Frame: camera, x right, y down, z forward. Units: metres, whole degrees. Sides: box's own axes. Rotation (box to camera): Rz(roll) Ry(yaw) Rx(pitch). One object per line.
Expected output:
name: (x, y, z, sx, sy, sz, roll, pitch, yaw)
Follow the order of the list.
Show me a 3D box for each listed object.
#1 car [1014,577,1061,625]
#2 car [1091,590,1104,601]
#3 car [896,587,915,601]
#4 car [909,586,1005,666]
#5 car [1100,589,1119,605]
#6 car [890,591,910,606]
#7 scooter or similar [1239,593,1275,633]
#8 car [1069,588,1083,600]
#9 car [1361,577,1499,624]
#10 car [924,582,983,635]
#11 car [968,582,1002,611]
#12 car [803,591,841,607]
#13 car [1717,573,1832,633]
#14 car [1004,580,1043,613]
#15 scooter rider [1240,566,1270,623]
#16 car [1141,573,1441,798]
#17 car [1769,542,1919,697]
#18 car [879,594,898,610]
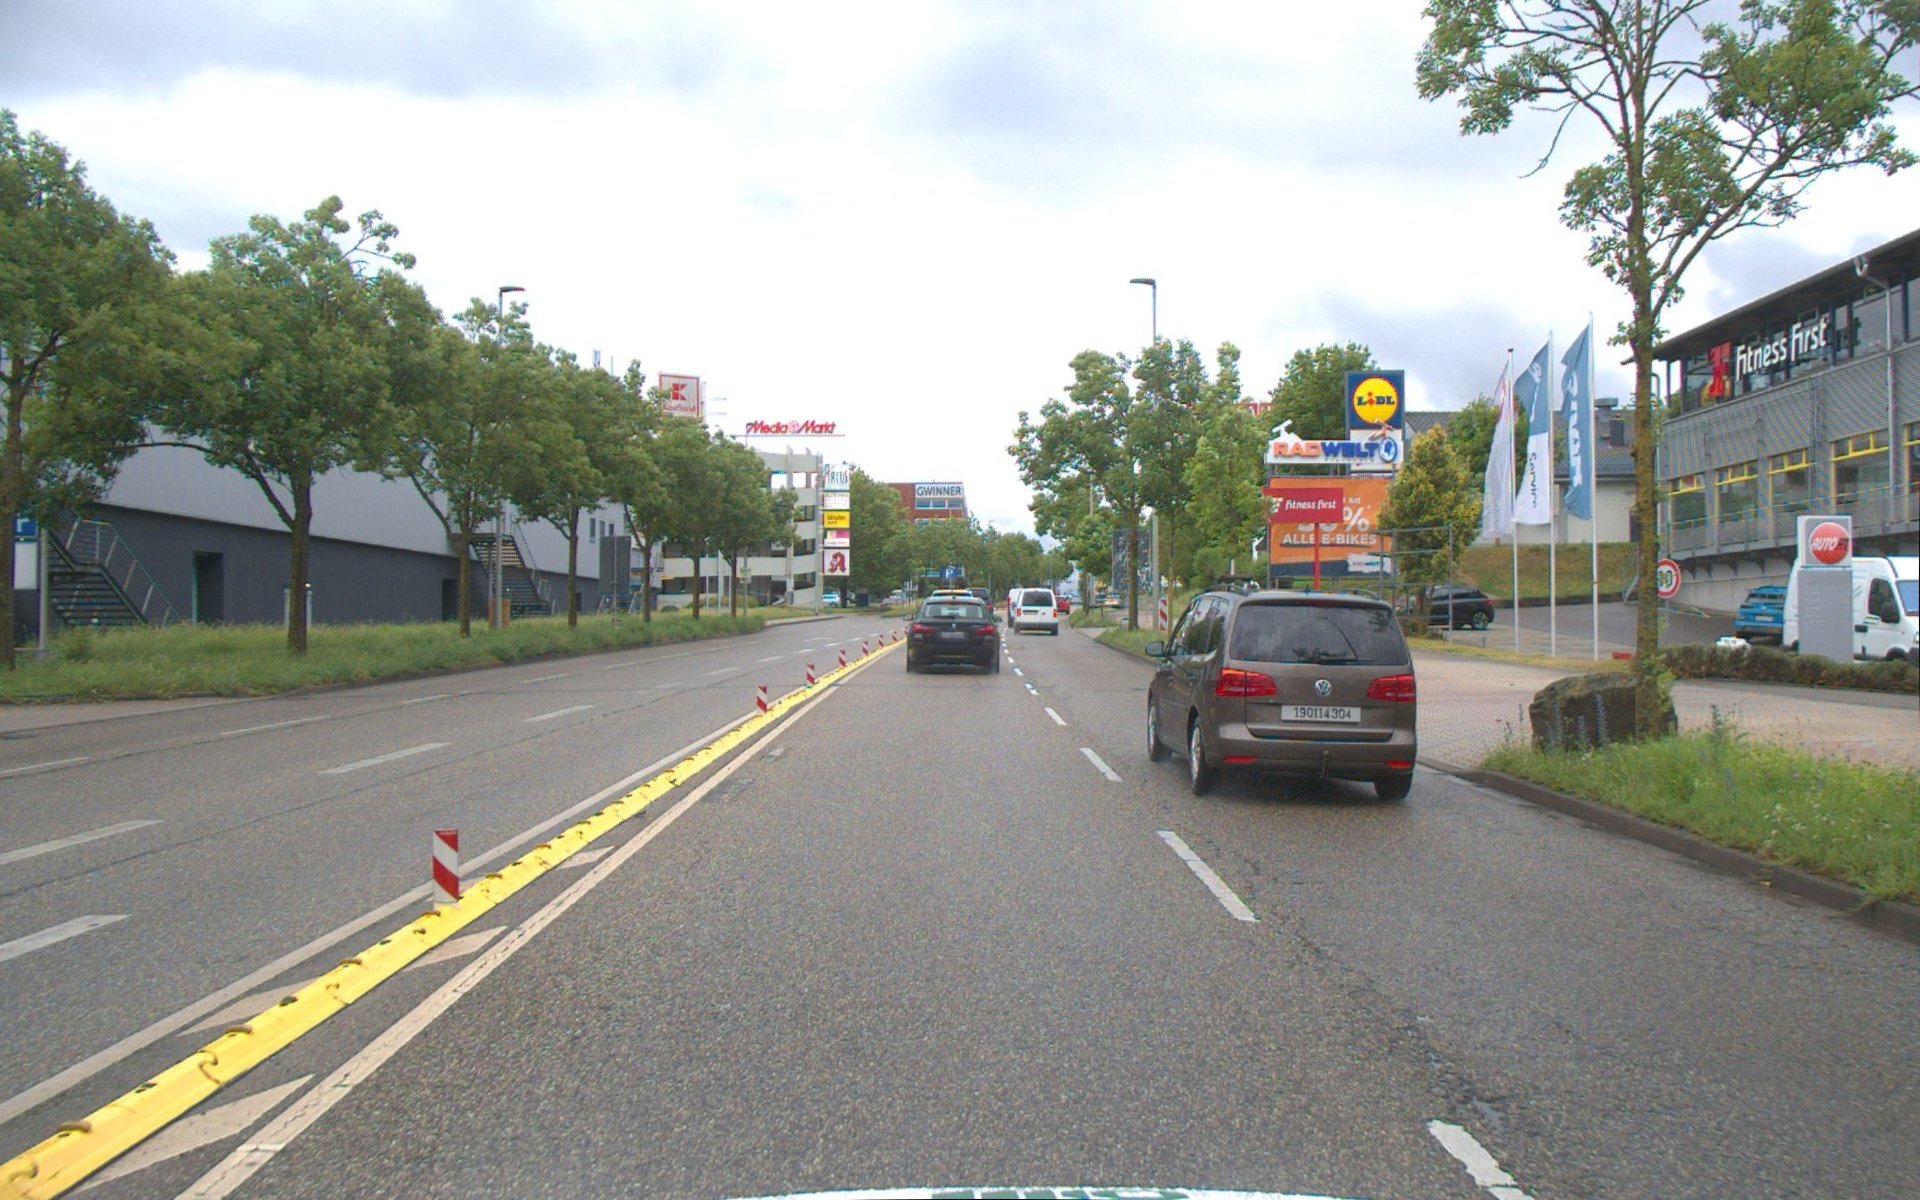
car: (3.115, 0.025, 66.398, 1.789, 1.789, 4.001, 2, 1, 2)
car: (19.676, -0.639, 236.623, 1.757, 1.537, 4.001, 2, 0, 2)
car: (-7.620, -0.832, 230.744, 2.093, 1.804, 4.611, 1, 2, 4)
car: (-0.047, 0.477, 33.203, 1.789, 1.494, 4.000, 1, 0, 0)
car: (15.493, -0.311, 171.669, 1.757, 1.537, 4.001, 2, 0, 3)
car: (-7.643, -0.217, 209.820, 1.996, 1.792, 4.949, 1, 2, 4)
scooter or similar: (9.978, 0.424, 55.657, 0.682, 1.285, 1.397, -2, 0, -11)
car: (15.951, -0.797, 227.313, 1.757, 1.537, 4.001, 2, 0, 2)
car: (15.496, 0.003, 54.585, 4.019, 1.463, 1.792, 0, 2, -13)
car: (-0.171, 0.268, 52.232, 1.757, 1.537, 4.000, 2, 0, 1)
car: (1.354, -0.181, 90.639, 1.757, 1.537, 4.000, 2, 0, 1)
car: (-16.716, -0.141, 200.698, 4.506, 1.776, 1.967, 1, 2, -2)
car: (23.855, 0.062, 48.382, 3.877, 1.586, 1.713, -2, 3, -42)
car: (3.104, -0.165, 81.360, 1.757, 1.537, 4.000, 2, 0, 1)
scooter rider: (9.943, -0.185, 55.716, 0.682, 1.852, 0.856, -2, 0, -12)
car: (2.668, 0.626, 14.267, 1.651, 1.609, 4.218, 2, 0, -1)
car: (17.342, 0.258, 30.467, 2.181, 2.580, 5.683, 2, 2, 2)
car: (-8.416, 0.238, 195.399, 1.893, 1.636, 4.713, 1, 2, 2)
